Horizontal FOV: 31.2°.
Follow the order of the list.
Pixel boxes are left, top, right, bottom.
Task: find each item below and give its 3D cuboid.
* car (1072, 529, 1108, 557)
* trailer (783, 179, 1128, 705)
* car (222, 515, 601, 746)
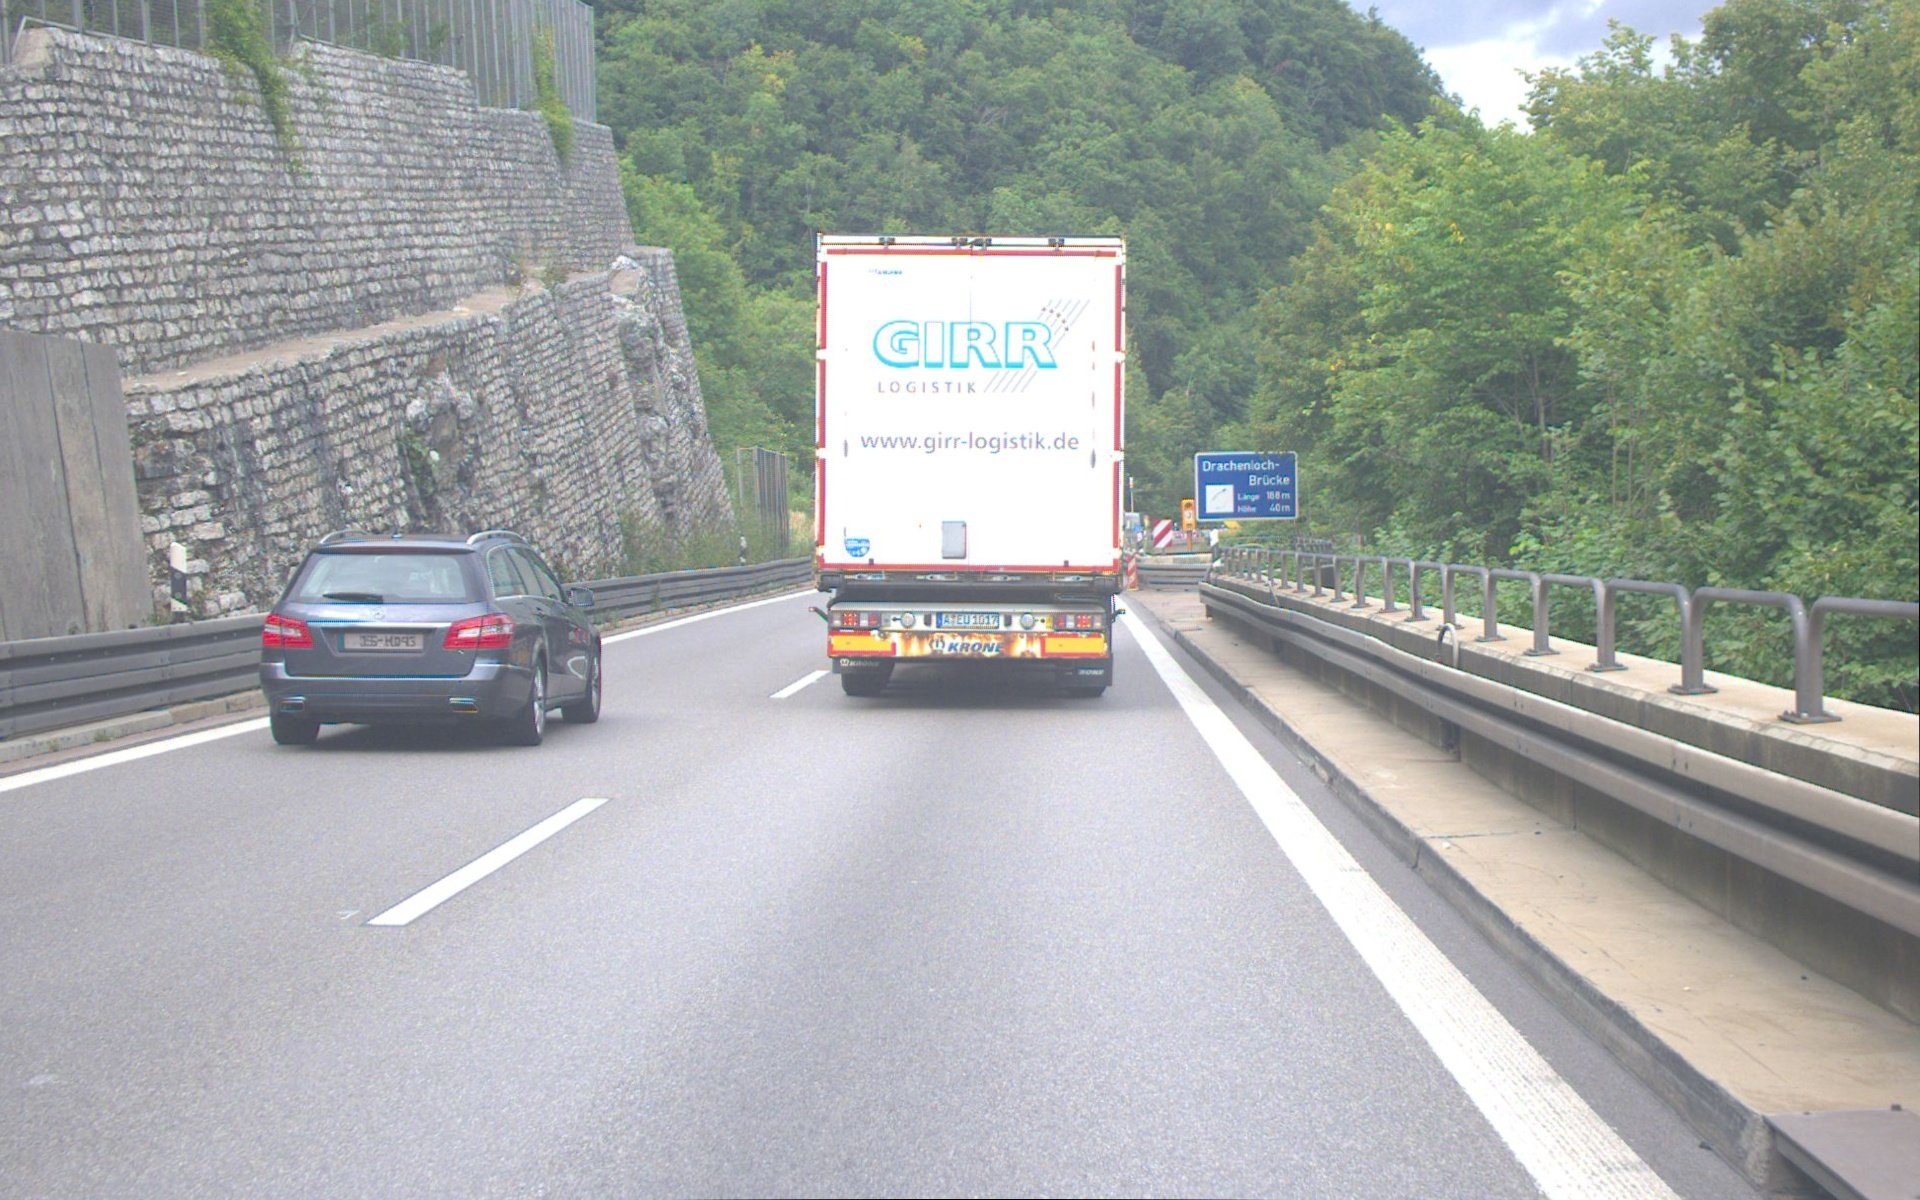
[{"bbox_3d":[8.090,-3.530,213.918,1.994,1.758,3.999,0,1,6],"label":"car"},{"bbox_3d":[0.204,-1.371,34.237,2.813,4.288,12.244,0,1,2],"label":"trailer"},{"bbox_3d":[-3.824,0.169,24.717,1.883,1.504,4.418,0,1,2],"label":"car"}]
